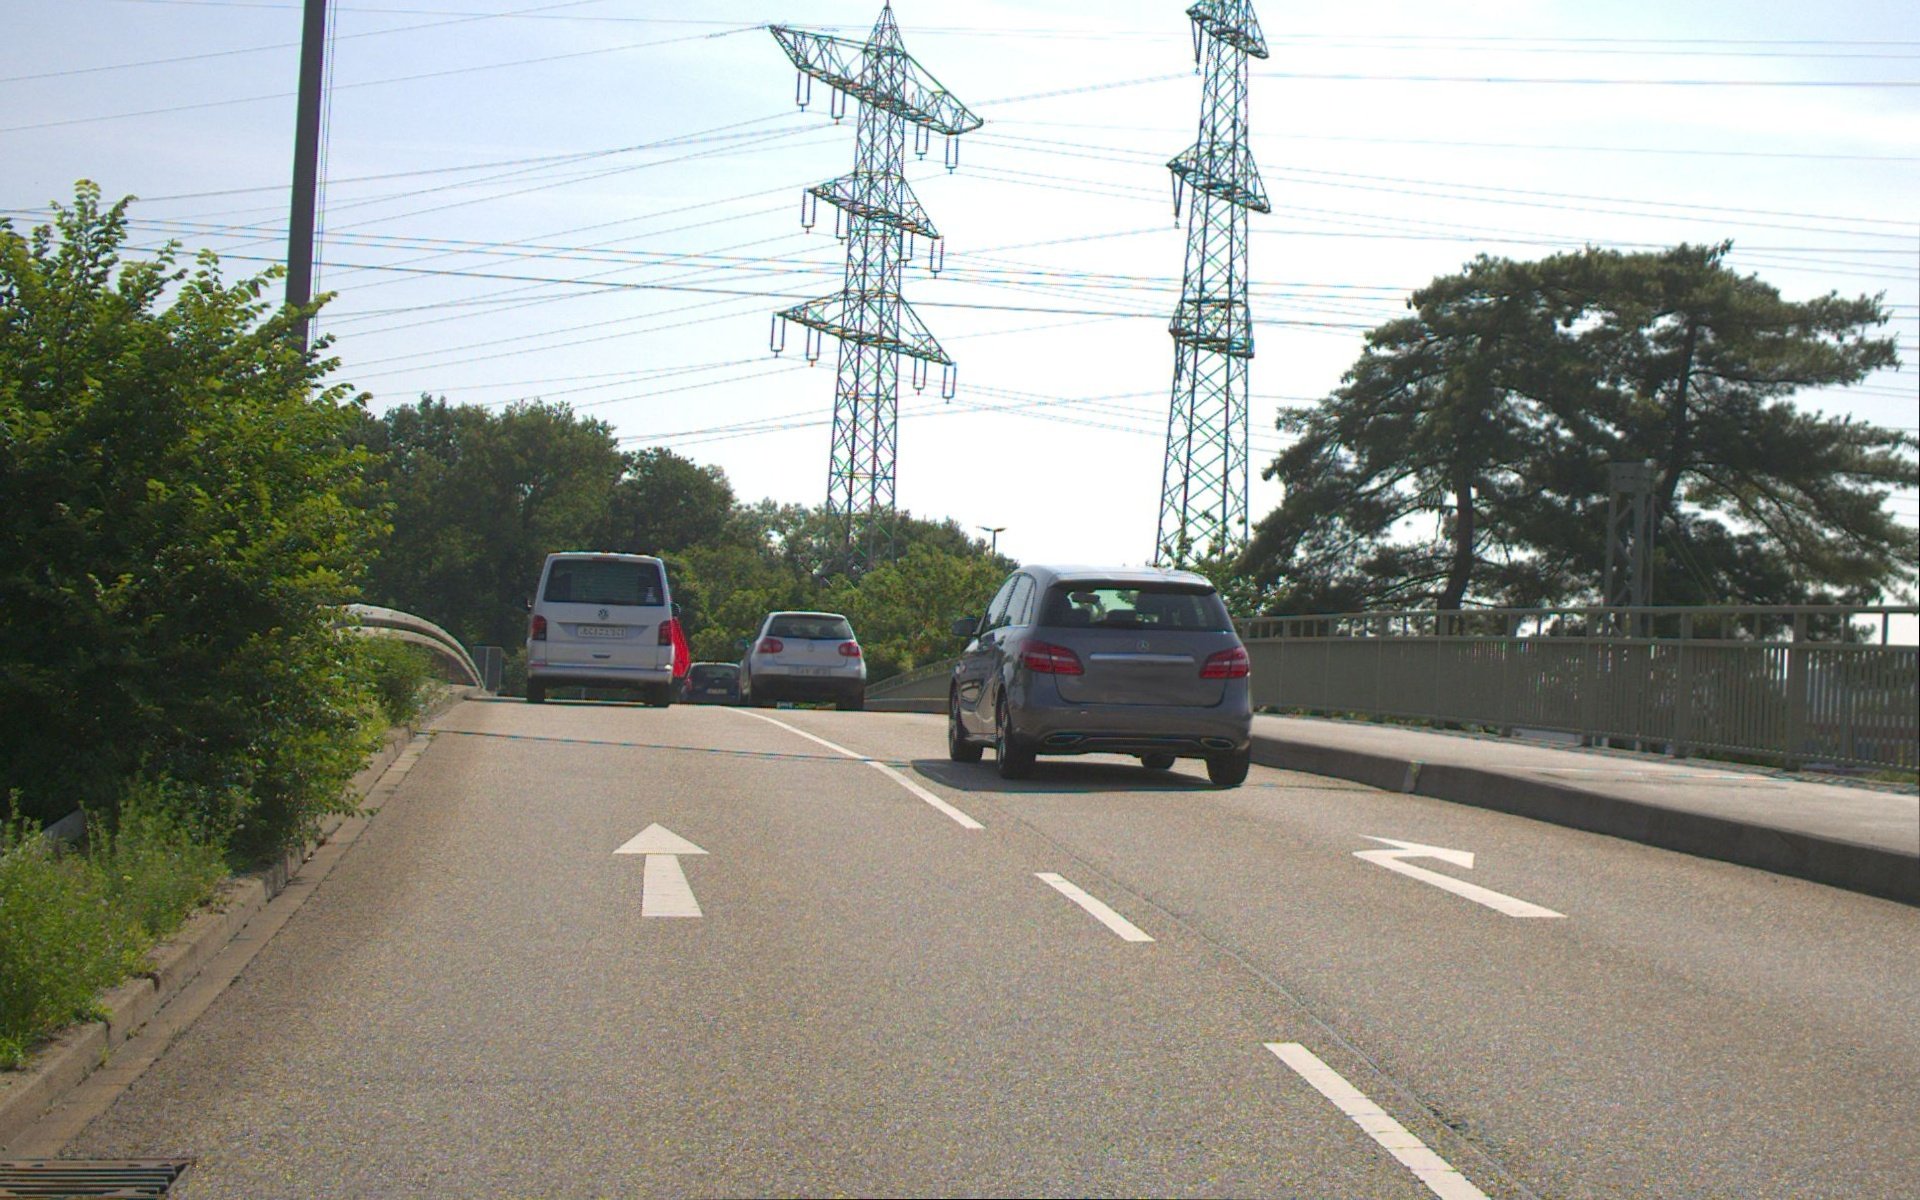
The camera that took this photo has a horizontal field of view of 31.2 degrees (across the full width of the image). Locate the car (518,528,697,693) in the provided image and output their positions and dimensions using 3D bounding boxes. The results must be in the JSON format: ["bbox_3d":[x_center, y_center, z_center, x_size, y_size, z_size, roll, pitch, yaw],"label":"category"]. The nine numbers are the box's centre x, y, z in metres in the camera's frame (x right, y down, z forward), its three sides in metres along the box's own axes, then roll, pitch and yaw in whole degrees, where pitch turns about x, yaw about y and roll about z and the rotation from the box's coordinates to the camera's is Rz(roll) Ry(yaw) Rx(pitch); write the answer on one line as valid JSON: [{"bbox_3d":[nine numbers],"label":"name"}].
[{"bbox_3d":[-4.593,0.125,45.330,2.039,2.007,4.000,2,0,-2],"label":"car"}]

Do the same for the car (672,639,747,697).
[{"bbox_3d":[-6.259,1.679,85.730,1.773,1.327,3.741,3,-1,-5],"label":"car"}]

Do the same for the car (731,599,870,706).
[{"bbox_3d":[-2.479,0.796,52.452,1.856,1.524,4.144,2,-1,-6],"label":"car"}]

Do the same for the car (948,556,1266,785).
[{"bbox_3d":[1.007,0.484,25.721,1.856,1.524,4.144,2,0,-4],"label":"car"}]
